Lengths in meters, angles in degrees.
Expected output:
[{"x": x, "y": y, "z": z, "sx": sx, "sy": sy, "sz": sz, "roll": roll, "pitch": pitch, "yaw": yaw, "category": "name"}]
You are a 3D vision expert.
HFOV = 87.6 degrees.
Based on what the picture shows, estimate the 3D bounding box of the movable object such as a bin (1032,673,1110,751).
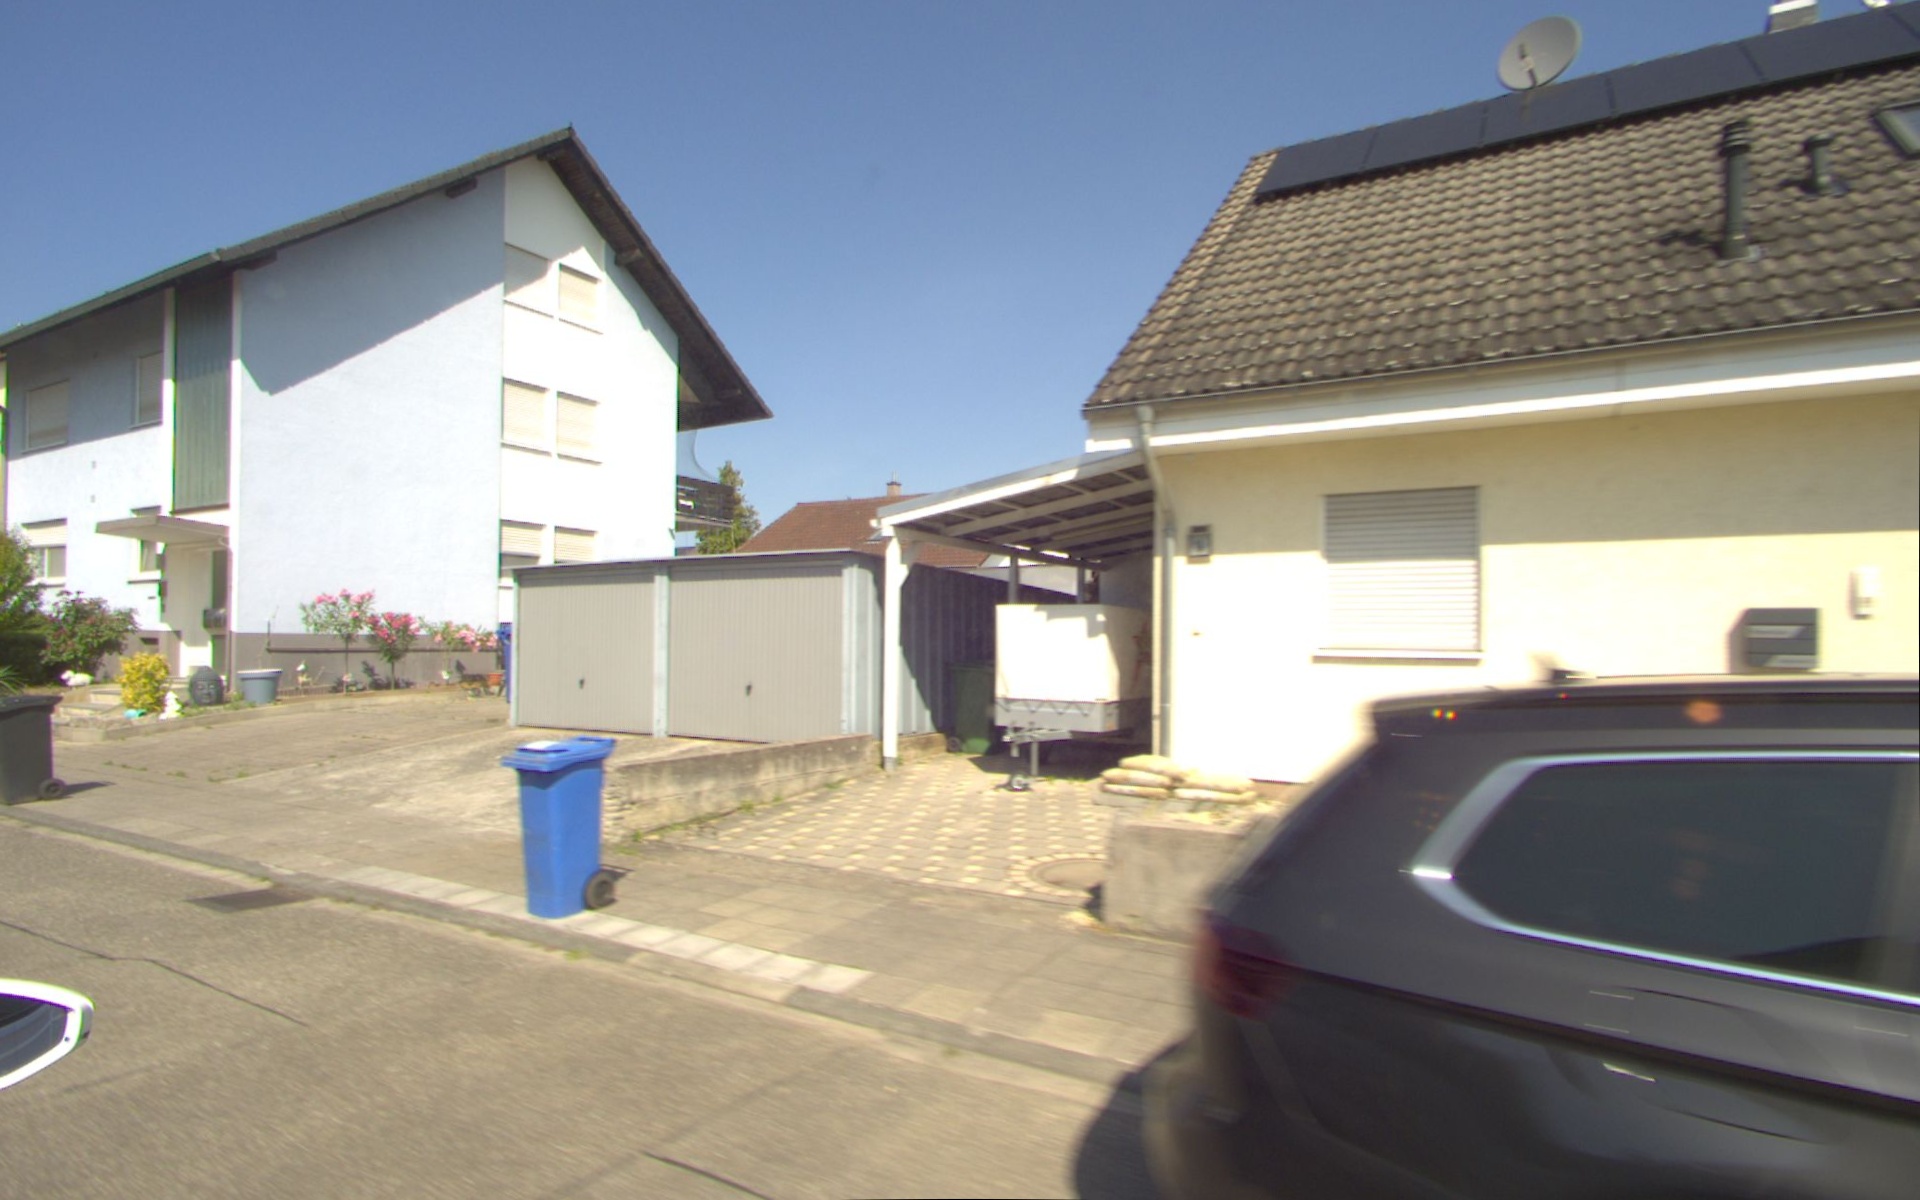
[{"x": 1.377, "y": 1.359, "z": 12.348, "sx": 0.629, "sy": 0.875, "sz": 0.831, "roll": 0, "pitch": -2, "yaw": 36, "category": "movable object such as a bin"}]

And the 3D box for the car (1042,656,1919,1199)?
[{"x": 2.471, "y": 0.847, "z": 1.413, "sx": 4.439, "sy": 1.456, "sz": 1.714, "roll": -1, "pitch": -2, "yaw": 33, "category": "car"}]

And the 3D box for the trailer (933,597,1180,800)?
[{"x": 1.070, "y": 0.863, "z": 10.018, "sx": 1.382, "sy": 1.712, "sz": 2.830, "roll": 0, "pitch": -1, "yaw": 31, "category": "trailer"}]
